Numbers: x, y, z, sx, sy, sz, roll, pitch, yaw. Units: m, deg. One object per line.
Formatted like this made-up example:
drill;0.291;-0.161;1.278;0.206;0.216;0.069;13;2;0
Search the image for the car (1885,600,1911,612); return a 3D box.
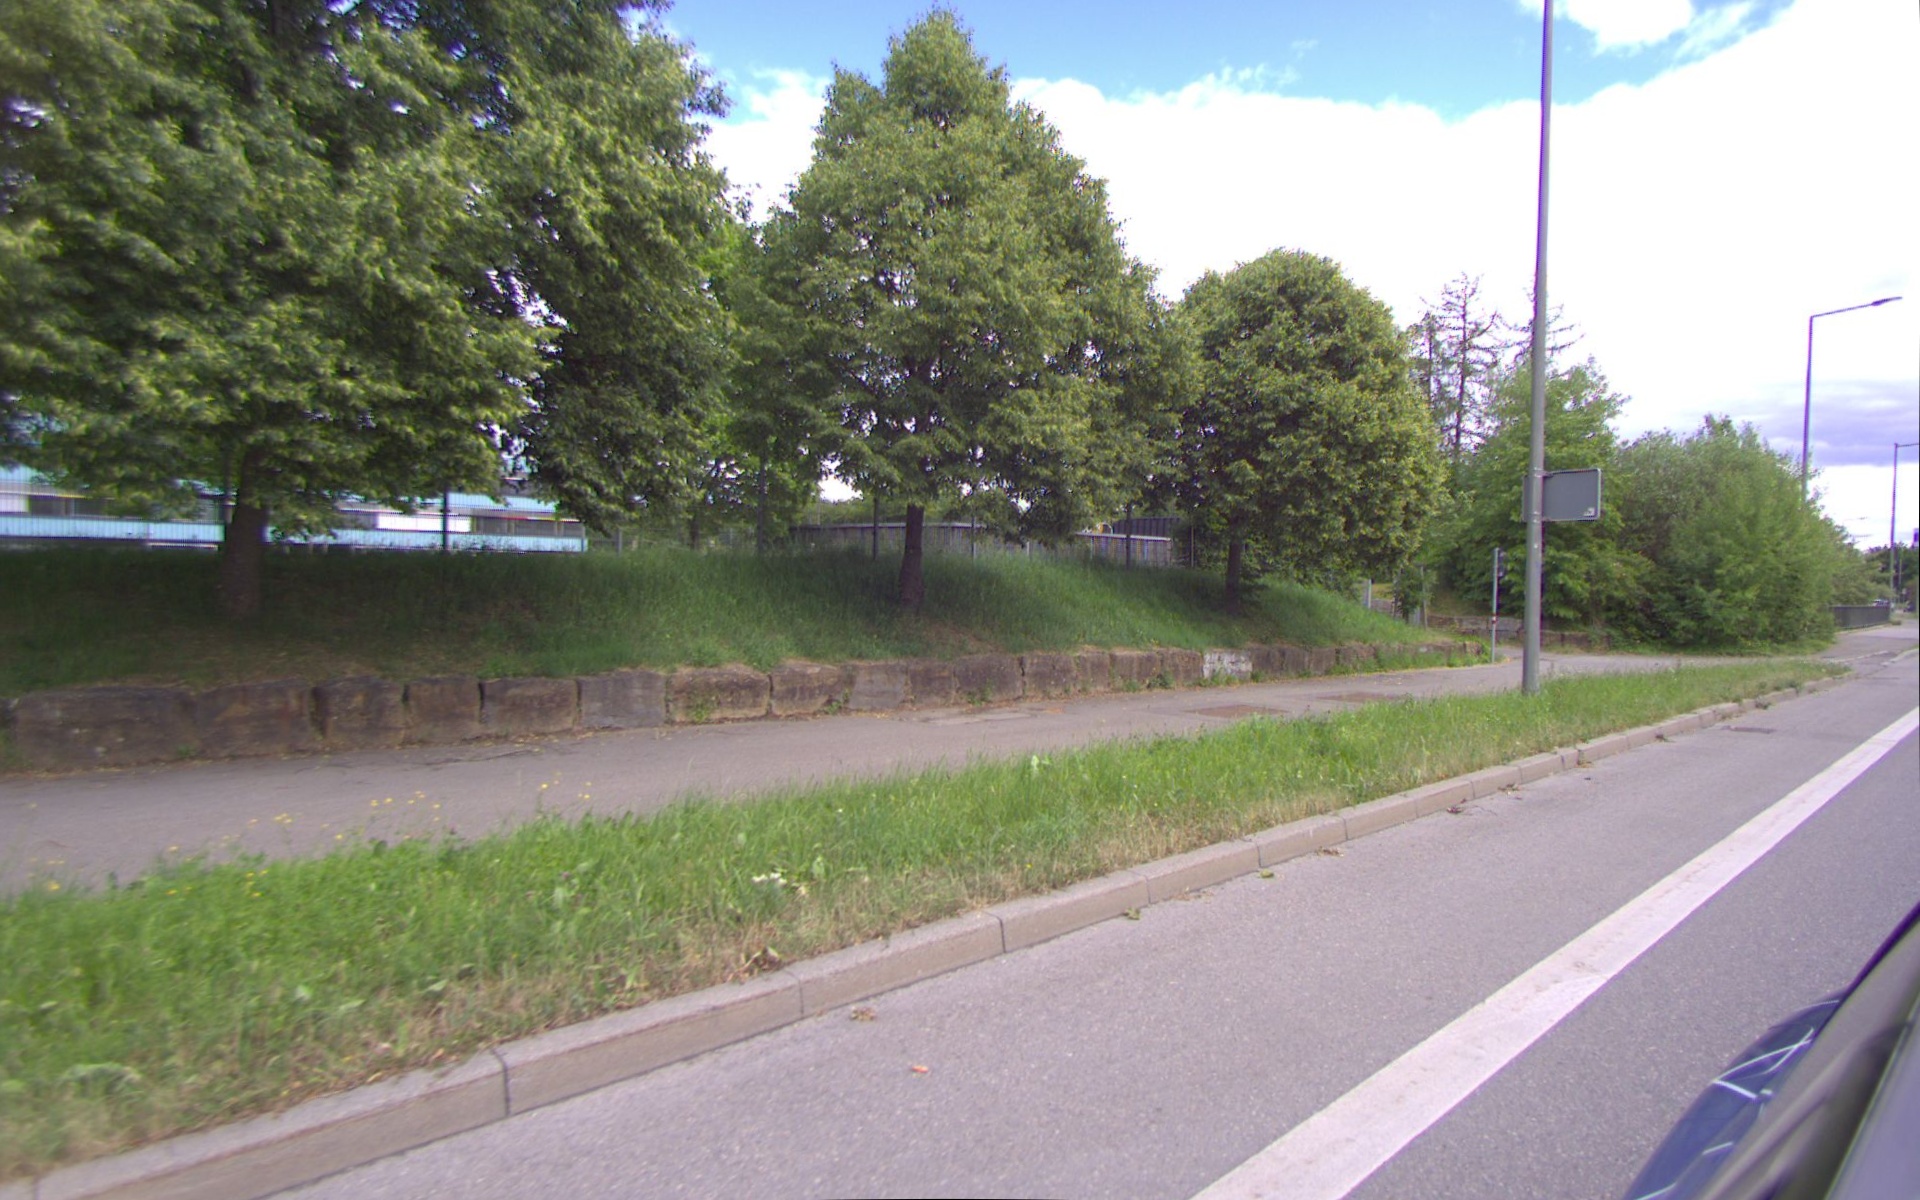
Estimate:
car;120.516;0.745;130.015;1.725;1.459;4.315;1;1;34
